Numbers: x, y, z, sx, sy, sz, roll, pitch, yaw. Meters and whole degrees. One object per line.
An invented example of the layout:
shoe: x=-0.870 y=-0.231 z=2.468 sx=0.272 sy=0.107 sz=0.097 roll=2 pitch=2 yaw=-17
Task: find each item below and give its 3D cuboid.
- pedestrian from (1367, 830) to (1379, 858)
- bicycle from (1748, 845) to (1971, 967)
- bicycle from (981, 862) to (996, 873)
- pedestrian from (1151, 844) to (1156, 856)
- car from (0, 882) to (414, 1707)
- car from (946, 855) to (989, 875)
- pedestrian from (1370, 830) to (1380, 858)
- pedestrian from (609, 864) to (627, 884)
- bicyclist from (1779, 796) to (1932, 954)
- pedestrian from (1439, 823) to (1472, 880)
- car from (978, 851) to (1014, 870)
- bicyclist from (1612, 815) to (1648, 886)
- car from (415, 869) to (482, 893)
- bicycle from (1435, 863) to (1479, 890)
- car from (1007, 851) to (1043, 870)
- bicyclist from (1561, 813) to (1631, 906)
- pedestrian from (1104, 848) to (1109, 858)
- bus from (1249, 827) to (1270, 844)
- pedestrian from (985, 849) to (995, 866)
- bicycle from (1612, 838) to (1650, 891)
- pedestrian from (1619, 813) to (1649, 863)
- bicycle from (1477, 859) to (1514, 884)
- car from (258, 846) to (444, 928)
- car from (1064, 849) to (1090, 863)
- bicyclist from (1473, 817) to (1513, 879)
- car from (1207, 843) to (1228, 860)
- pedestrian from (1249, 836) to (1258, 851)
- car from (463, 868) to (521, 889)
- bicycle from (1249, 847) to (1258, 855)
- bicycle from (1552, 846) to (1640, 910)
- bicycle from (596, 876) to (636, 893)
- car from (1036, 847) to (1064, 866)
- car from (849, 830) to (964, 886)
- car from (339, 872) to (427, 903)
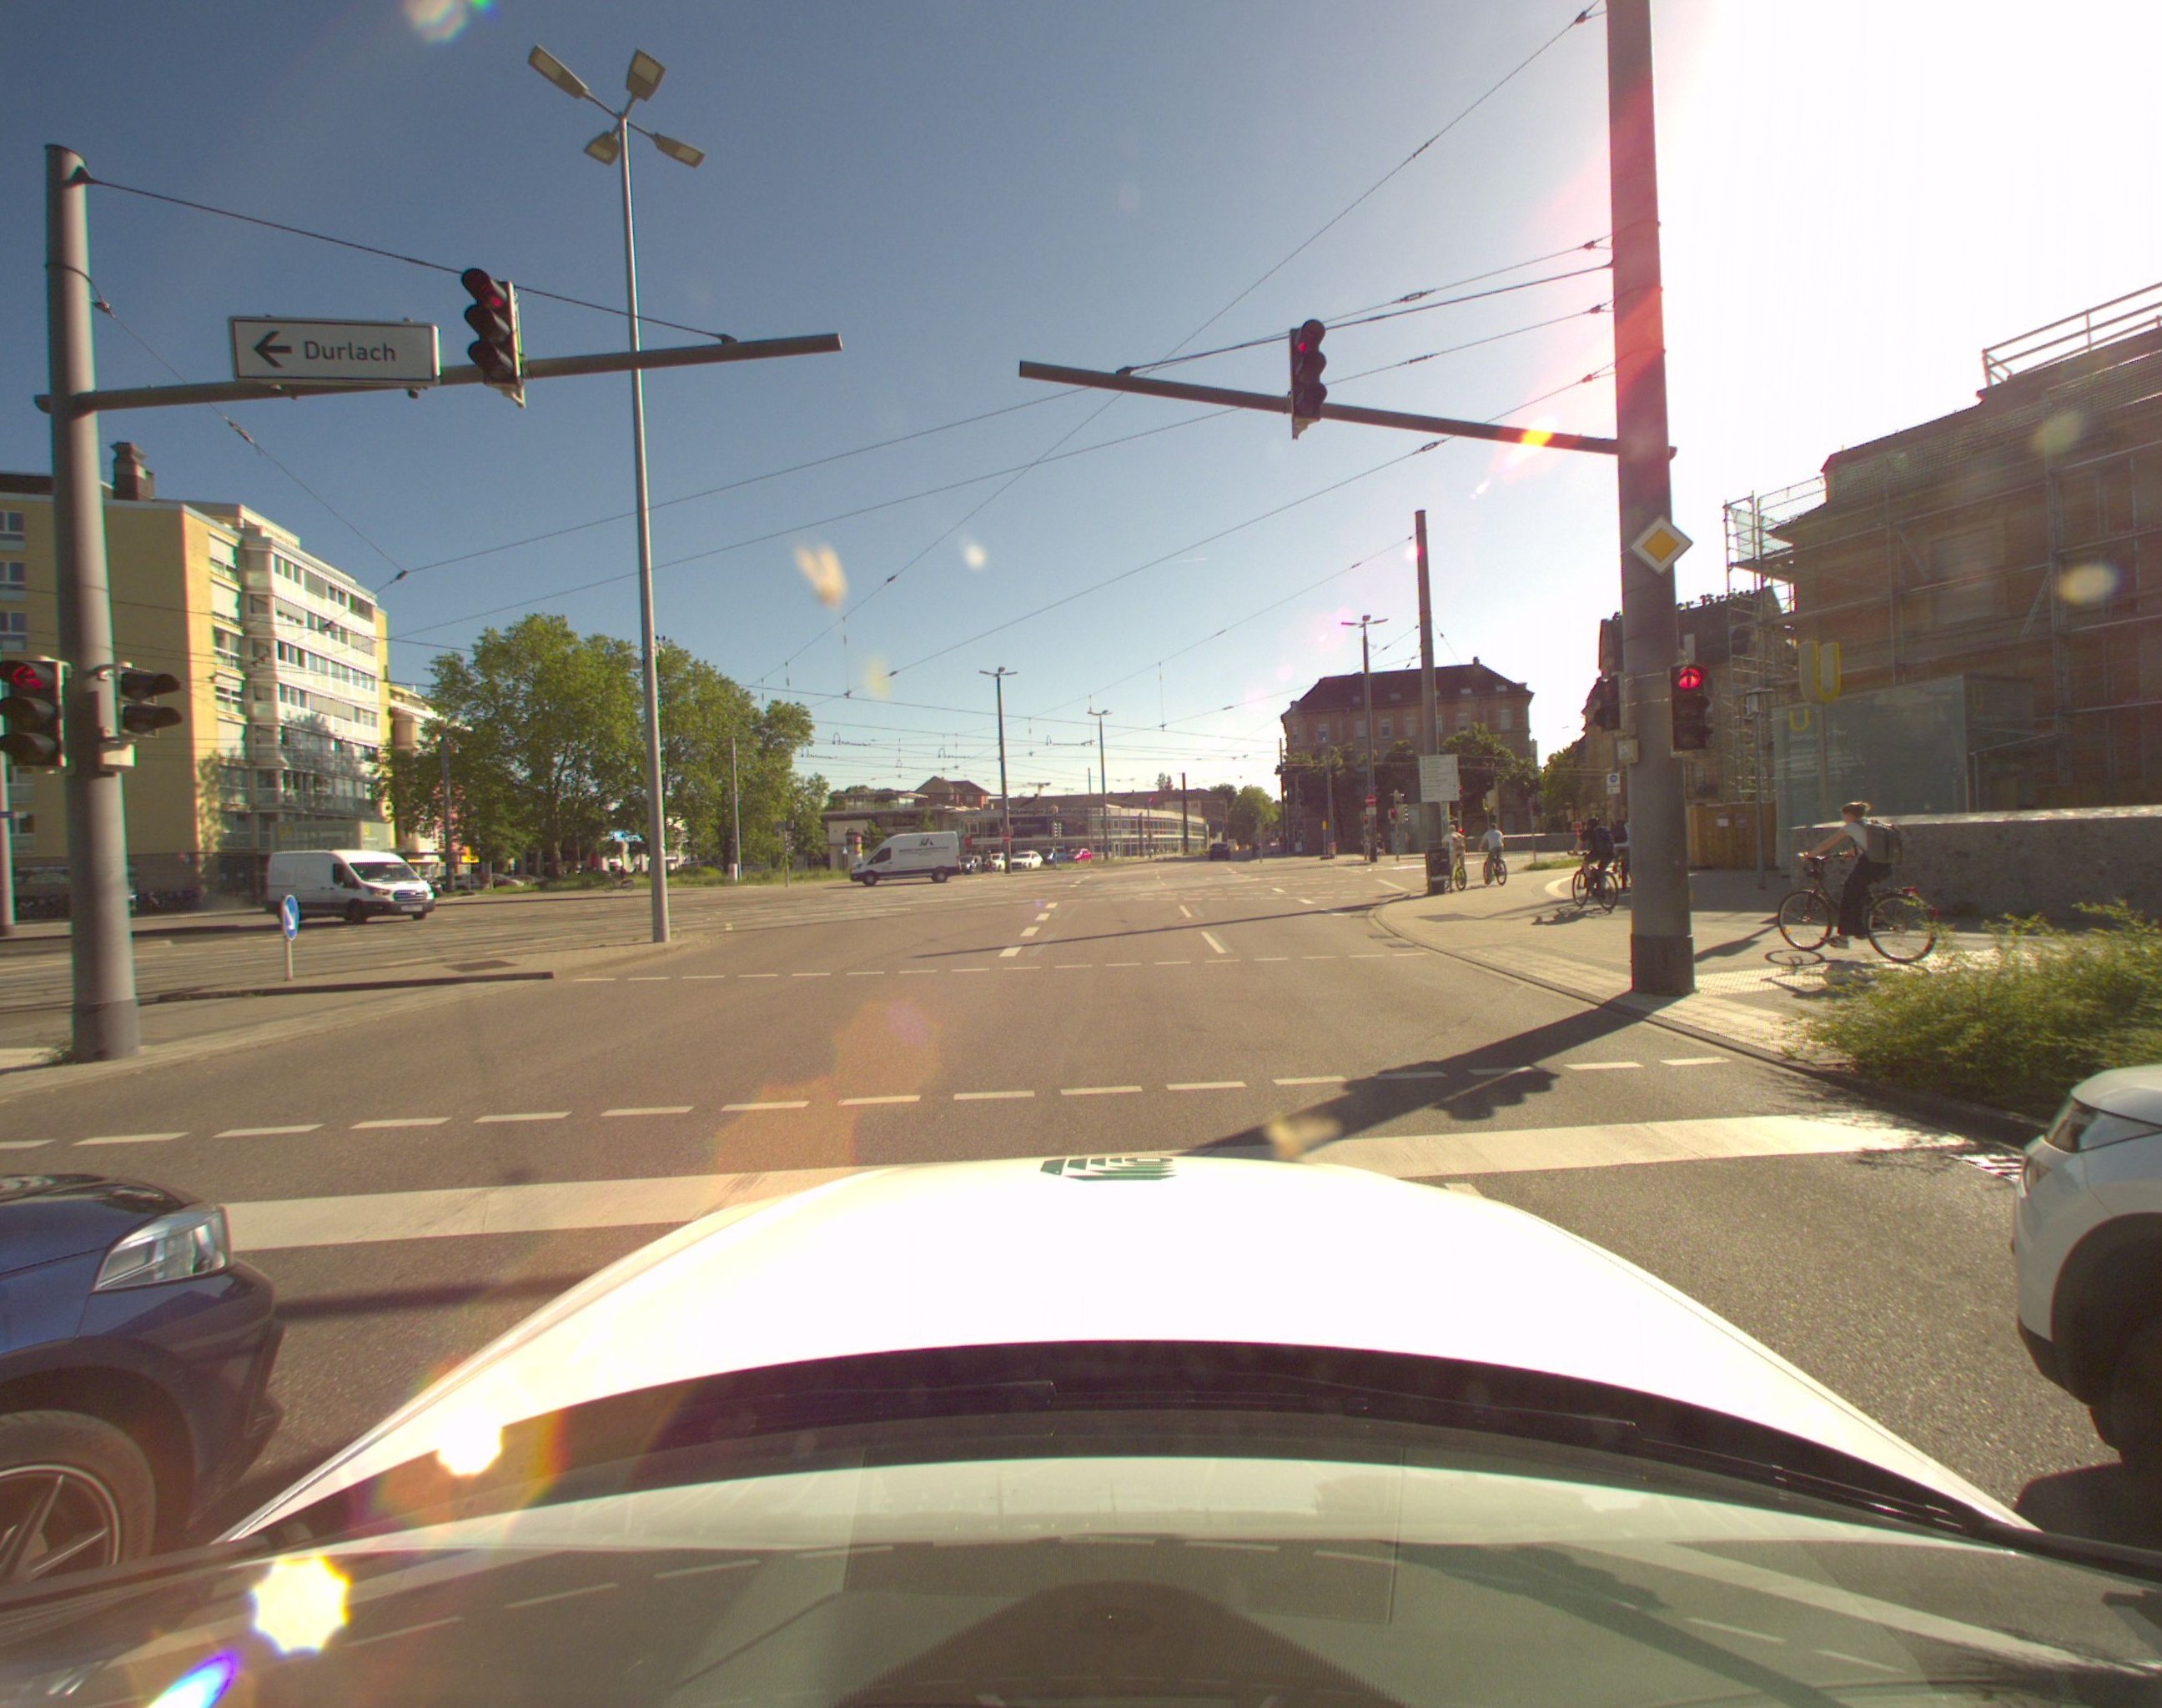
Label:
pedestrian: x=21.379 y=-0.716 z=59.664 sx=0.574 sy=2.013 sz=0.449 roll=-3 pitch=0 yaw=-16
bicycle: x=8.440 y=0.509 z=8.965 sx=0.682 sy=1.163 sz=1.885 roll=-3 pitch=0 yaw=4
bicycle: x=-6.861 y=1.003 z=60.676 sx=0.419 sy=0.718 sz=1.642 roll=-2 pitch=0 yaw=19
pedestrian: x=10.771 y=-0.612 z=121.394 sx=0.537 sy=1.688 sz=0.633 roll=-2 pitch=0 yaw=22
car: x=-2.668 y=0.806 z=0.116 sx=1.704 sy=1.445 sz=4.034 roll=-1 pitch=0 yaw=2
car: x=-8.492 y=0.801 z=61.245 sx=1.689 sy=1.354 sz=3.719 roll=-2 pitch=0 yaw=19
pedestrian: x=21.822 y=-0.729 z=60.367 sx=0.461 sy=2.013 sz=0.449 roll=-3 pitch=0 yaw=-16
pedestrian: x=-28.110 y=1.210 z=49.438 sx=0.797 sy=1.204 sz=0.556 roll=-2 pitch=0 yaw=-22
bicyclist: x=8.415 y=0.216 z=8.896 sx=0.682 sy=1.598 sz=0.978 roll=-3 pitch=0 yaw=4
pedestrian: x=10.651 y=-0.080 z=23.165 sx=0.546 sy=1.562 sz=0.859 roll=-2 pitch=0 yaw=5
car: x=-6.973 y=0.550 z=67.169 sx=1.613 sy=1.424 sz=3.702 roll=-2 pitch=0 yaw=17
bicyclist: x=12.695 y=-0.087 z=18.849 sx=0.566 sy=1.568 sz=0.953 roll=-3 pitch=0 yaw=31
car: x=-49.810 y=2.104 z=64.197 sx=3.742 sy=1.662 sz=1.585 roll=-2 pitch=0 yaw=-18
bicycle: x=10.718 y=0.628 z=23.249 sx=0.534 sy=0.655 sz=1.728 roll=-5 pitch=0 yaw=5
car: x=-4.467 y=0.515 z=65.226 sx=1.613 sy=1.382 sz=3.754 roll=-2 pitch=0 yaw=17
bicyclist: x=9.742 y=0.099 z=15.449 sx=0.622 sy=1.637 sz=0.997 roll=-6 pitch=-1 yaw=8
pedestrian: x=3.132 y=-0.171 z=100.027 sx=0.419 sy=1.204 sz=0.684 roll=-2 pitch=0 yaw=22
bus: x=44.390 y=-4.432 z=201.681 sx=3.808 sy=3.607 sz=24.966 roll=-1 pitch=0 yaw=15
pedestrian: x=-6.827 y=0.270 z=60.872 sx=0.419 sy=1.204 sz=0.753 roll=-2 pitch=0 yaw=19
bicycle: x=12.756 y=0.220 z=18.925 sx=0.566 sy=1.125 sz=1.751 roll=-3 pitch=0 yaw=31
pedestrian: x=21.487 y=-0.617 z=31.646 sx=0.887 sy=1.859 sz=0.933 roll=-2 pitch=0 yaw=36
bicycle: x=12.354 y=0.519 z=24.333 sx=0.534 sy=0.655 sz=1.471 roll=-3 pitch=0 yaw=9
car: x=-24.395 y=1.088 z=27.246 sx=5.360 sy=2.508 sz=2.009 roll=-2 pitch=0 yaw=16
car: x=-0.435 y=0.245 z=86.289 sx=1.613 sy=1.364 sz=3.703 roll=-2 pitch=0 yaw=18
bicyclist: x=12.289 y=-0.173 z=24.324 sx=0.742 sy=1.778 sz=0.926 roll=-3 pitch=0 yaw=9
car: x=12.998 y=-0.299 z=77.161 sx=1.687 sy=1.503 sz=4.280 roll=-2 pitch=0 yaw=13
pedestrian: x=19.300 y=-1.144 z=91.060 sx=0.796 sy=1.632 sz=0.722 roll=-2 pitch=0 yaw=20
car: x=-51.384 y=2.132 z=71.120 sx=3.742 sy=1.662 sz=1.585 roll=-2 pitch=0 yaw=-18
bicycle: x=19.220 y=-0.337 z=90.665 sx=0.736 sy=0.870 sz=1.941 roll=-2 pitch=0 yaw=20
bicycle: x=9.791 y=0.428 z=15.574 sx=0.622 sy=1.114 sz=1.855 roll=-6 pitch=0 yaw=8
bicycle: x=-28.188 y=1.855 z=49.398 sx=2.013 sy=0.913 sz=0.558 roll=-2 pitch=0 yaw=-22
car: x=-2.987 y=0.238 z=79.218 sx=1.613 sy=1.692 sz=3.702 roll=-2 pitch=0 yaw=17
car: x=-9.550 y=0.179 z=44.492 sx=5.920 sy=2.744 sz=2.131 roll=-2 pitch=0 yaw=-18
car: x=-42.848 y=2.009 z=50.068 sx=3.742 sy=1.662 sz=1.585 roll=-2 pitch=0 yaw=-18
